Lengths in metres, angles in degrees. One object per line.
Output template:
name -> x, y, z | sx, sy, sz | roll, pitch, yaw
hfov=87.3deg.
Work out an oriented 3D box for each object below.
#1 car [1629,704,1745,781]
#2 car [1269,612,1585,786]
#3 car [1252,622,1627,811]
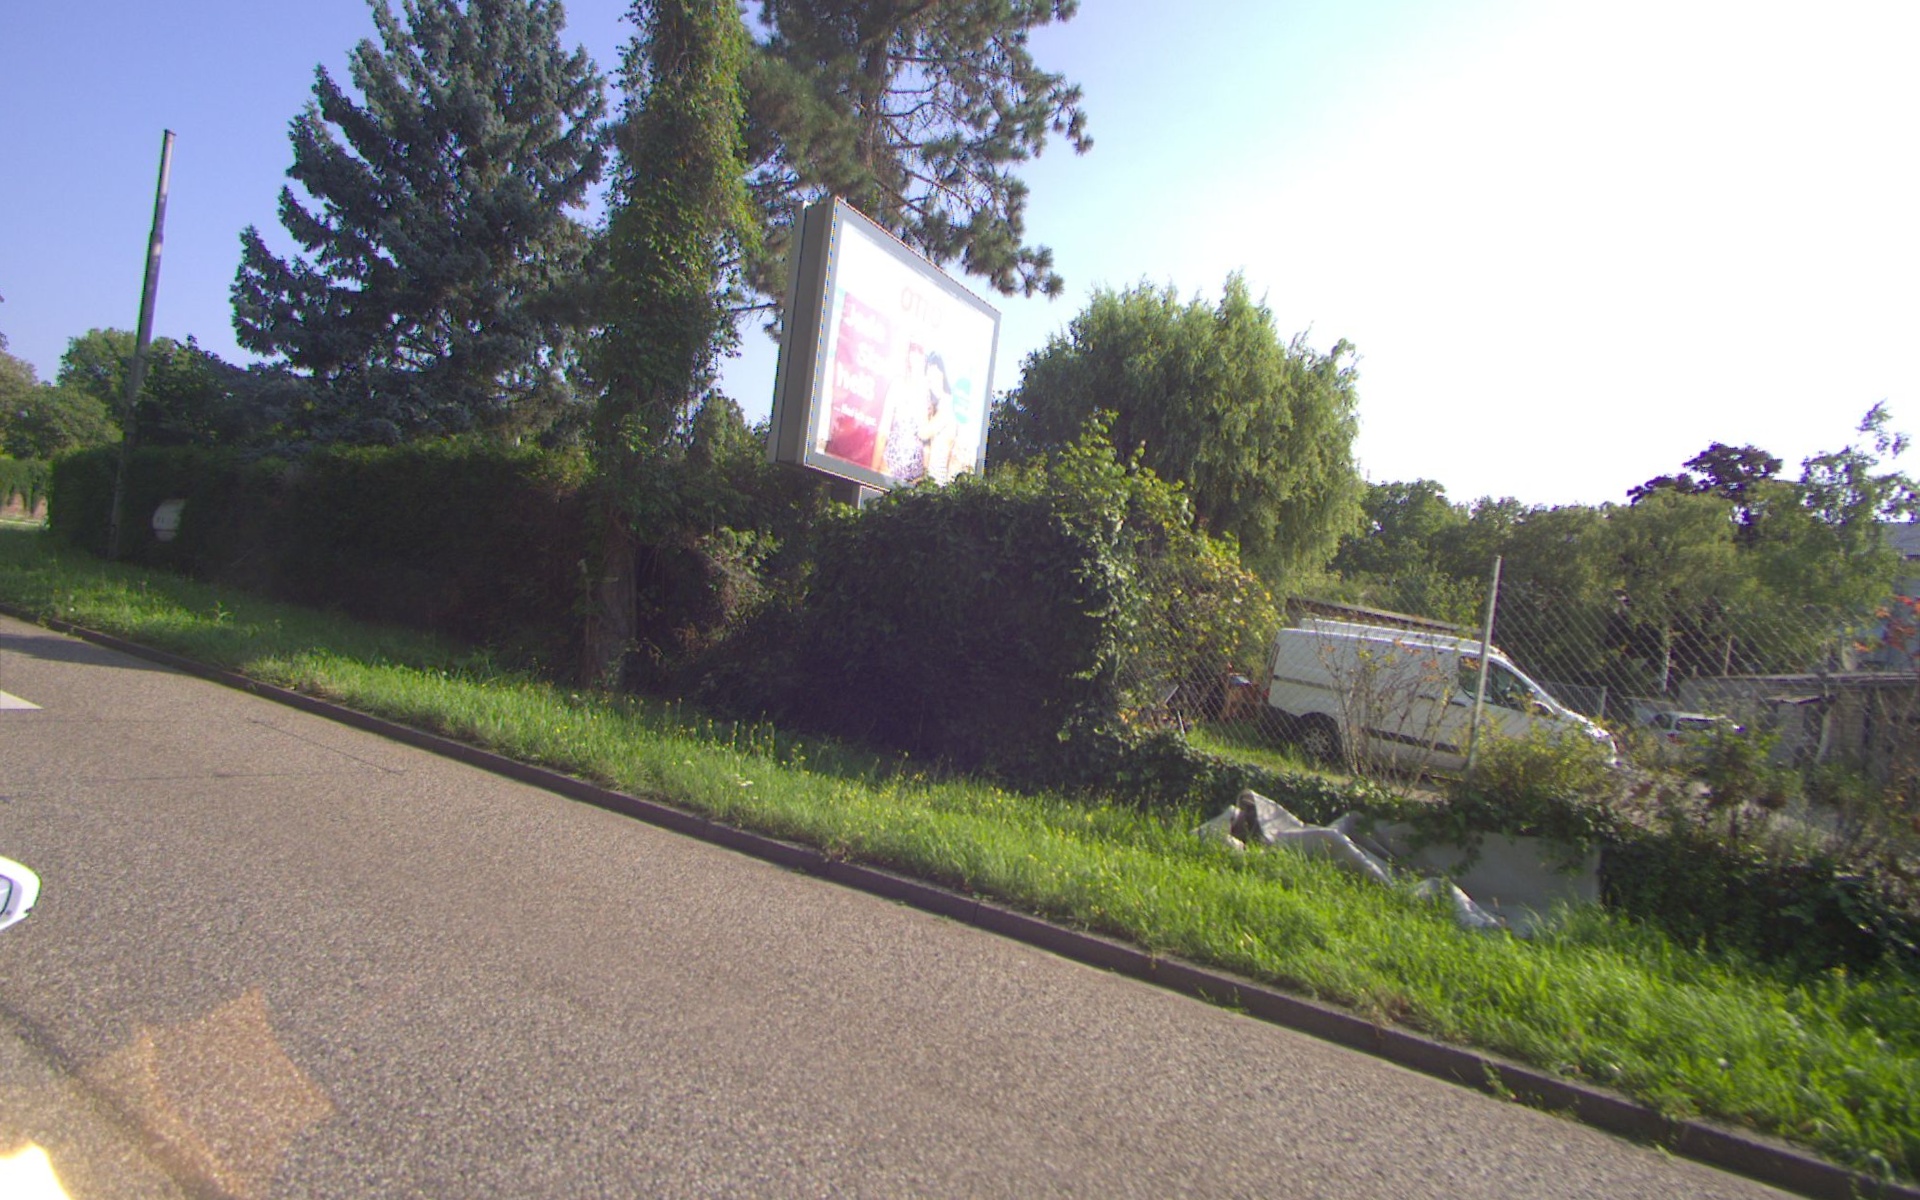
car -> 18.986, 3.666, 26.445 | 1.721, 1.596, 3.675 | 7, -1, 26
car -> 8.059, 1.642, 17.629 | 4.586, 2.250, 1.750 | 7, -1, 28
car -> 6.954, 1.611, 14.950 | 4.586, 1.947, 1.750 | 7, -1, 28
